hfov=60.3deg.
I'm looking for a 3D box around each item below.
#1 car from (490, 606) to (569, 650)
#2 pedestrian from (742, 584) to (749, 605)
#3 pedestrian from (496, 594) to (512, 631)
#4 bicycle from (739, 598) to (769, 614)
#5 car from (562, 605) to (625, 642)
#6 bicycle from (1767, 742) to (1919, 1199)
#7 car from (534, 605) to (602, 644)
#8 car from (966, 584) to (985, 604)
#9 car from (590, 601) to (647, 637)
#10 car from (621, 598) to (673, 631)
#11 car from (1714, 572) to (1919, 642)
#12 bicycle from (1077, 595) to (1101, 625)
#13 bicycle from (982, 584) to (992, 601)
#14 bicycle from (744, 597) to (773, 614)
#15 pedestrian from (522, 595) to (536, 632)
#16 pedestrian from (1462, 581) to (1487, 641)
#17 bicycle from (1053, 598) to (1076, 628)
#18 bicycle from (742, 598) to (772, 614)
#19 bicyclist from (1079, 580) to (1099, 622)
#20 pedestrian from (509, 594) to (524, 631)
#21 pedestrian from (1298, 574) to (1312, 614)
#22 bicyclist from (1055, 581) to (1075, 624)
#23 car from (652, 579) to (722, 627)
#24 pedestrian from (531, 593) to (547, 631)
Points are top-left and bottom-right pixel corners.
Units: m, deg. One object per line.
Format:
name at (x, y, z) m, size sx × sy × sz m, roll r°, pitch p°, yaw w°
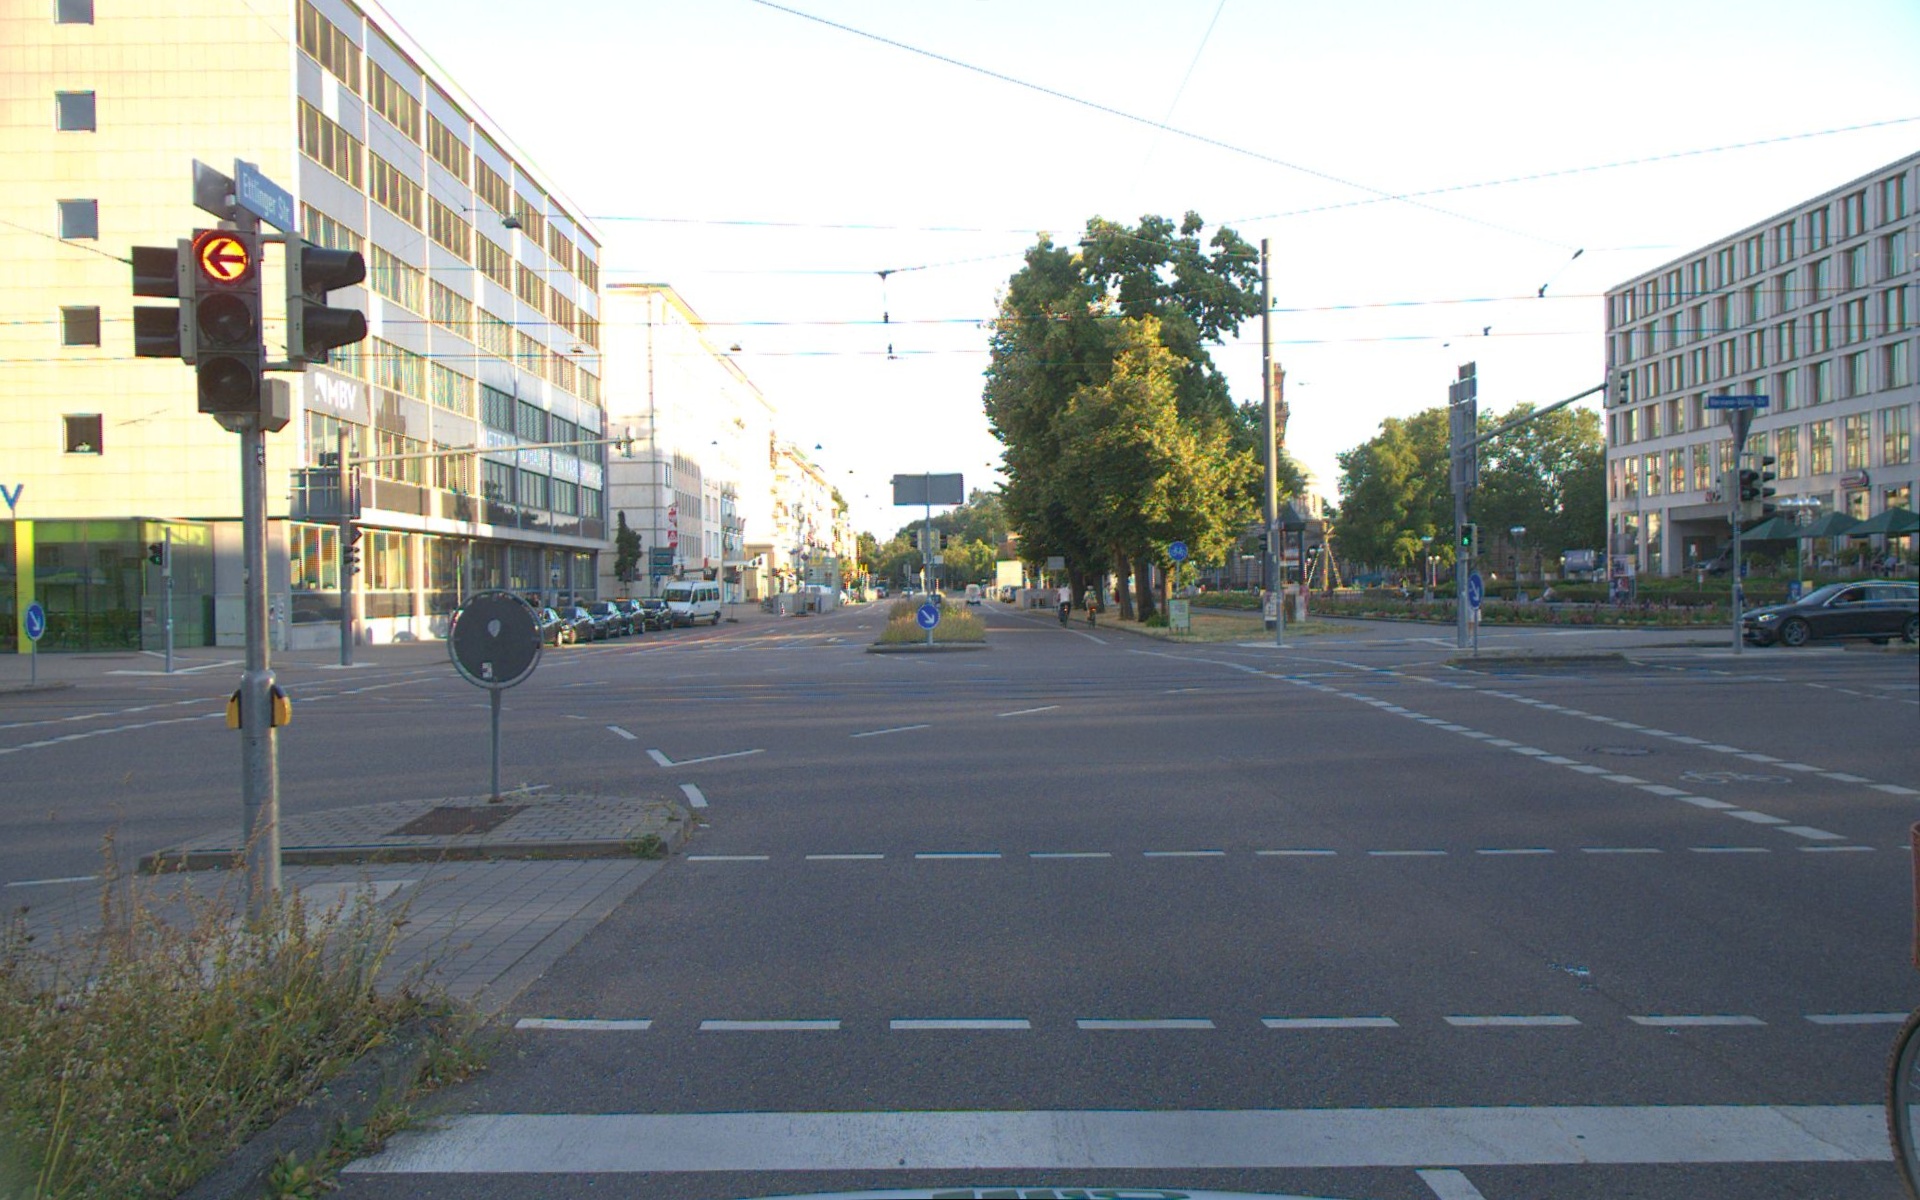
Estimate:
car at (-16.007, 1.024, 61.664) m, size 1.882 × 1.489 × 4.102 m, roll -1°, pitch 0°, yaw -1°
pedestrian at (-21.339, -0.563, 164.530) m, size 0.666 × 2.049 × 0.545 m, roll -2°, pitch 0°, yaw -1°
pedestrian at (-21.168, 0.577, 76.756) m, size 0.540 × 1.708 × 0.500 m, roll -1°, pitch 0°, yaw -1°
bicycle at (-15.584, 0.454, 125.166) m, size 2.161 × 1.131 × 0.618 m, roll -1°, pitch 0°, yaw -3°
car at (-16.136, 1.003, 72.990) m, size 1.882 × 1.489 × 3.999 m, roll -1°, pitch 0°, yaw -1°
bicycle at (2.183, 0.912, 2.828) m, size 0.599 × 1.152 × 2.004 m, roll 1°, pitch 0°, yaw -1°
car at (-16.116, 0.983, 68.176) m, size 1.882 × 1.489 × 3.999 m, roll -1°, pitch 0°, yaw -1°
car at (1.313, -0.494, 140.759) m, size 1.379 × 1.670 × 3.998 m, roll -1°, pitch 0°, yaw -2°
car at (-16.132, 0.872, 78.293) m, size 1.882 × 1.595 × 3.999 m, roll -1°, pitch 0°, yaw -1°
car at (-15.958, 0.723, 84.525) m, size 1.882 × 1.595 × 3.999 m, roll -1°, pitch 0°, yaw -1°
car at (21.050, 0.153, 39.958) m, size 4.724 × 1.542 × 2.000 m, roll -1°, pitch 0°, yaw 1°
bicycle at (5.265, 0.400, 67.490) m, size 0.731 × 1.164 × 2.505 m, roll -1°, pitch 0°, yaw -1°
bicycle at (3.388, -0.971, 207.493) m, size 0.981 × 2.049 × 4.002 m, roll -1°, pitch 0°, yaw 4°
bicycle at (-15.656, 0.416, 128.639) m, size 2.161 × 1.258 × 0.839 m, roll -1°, pitch 0°, yaw -2°
pedestrian at (-20.158, 0.615, 77.291) m, size 0.490 × 1.708 × 0.500 m, roll -1°, pitch 0°, yaw -1°
pedestrian at (13.616, 0.300, 43.764) m, size 0.480 × 1.566 × 0.408 m, roll -1°, pitch 0°, yaw -1°
bicycle at (4.298, 0.519, 67.916) m, size 0.731 × 1.164 × 2.505 m, roll -1°, pitch 0°, yaw -1°
bicycle at (-15.576, 0.467, 126.808) m, size 2.161 × 1.131 × 0.689 m, roll -1°, pitch 0°, yaw -2°
bicyclist at (5.254, 0.039, 67.427) m, size 0.731 × 1.720 × 0.799 m, roll -1°, pitch 0°, yaw -1°
pedestrian at (-20.536, 0.587, 76.636) m, size 0.540 × 1.708 × 0.500 m, roll -1°, pitch 0°, yaw -1°
pedestrian at (14.477, -0.255, 69.447) m, size 0.451 × 1.685 × 0.566 m, roll -1°, pitch 0°, yaw -1°
bicyclist at (4.284, 0.103, 67.424) m, size 0.731 × 1.692 × 0.873 m, roll -1°, pitch 0°, yaw -1°
car at (-14.940, 0.134, 91.000) m, size 1.958 × 2.521 × 5.873 m, roll -1°, pitch 0°, yaw 9°
pedestrian at (-19.557, 0.559, 76.840) m, size 0.540 × 1.708 × 0.500 m, roll -1°, pitch 0°, yaw -1°
